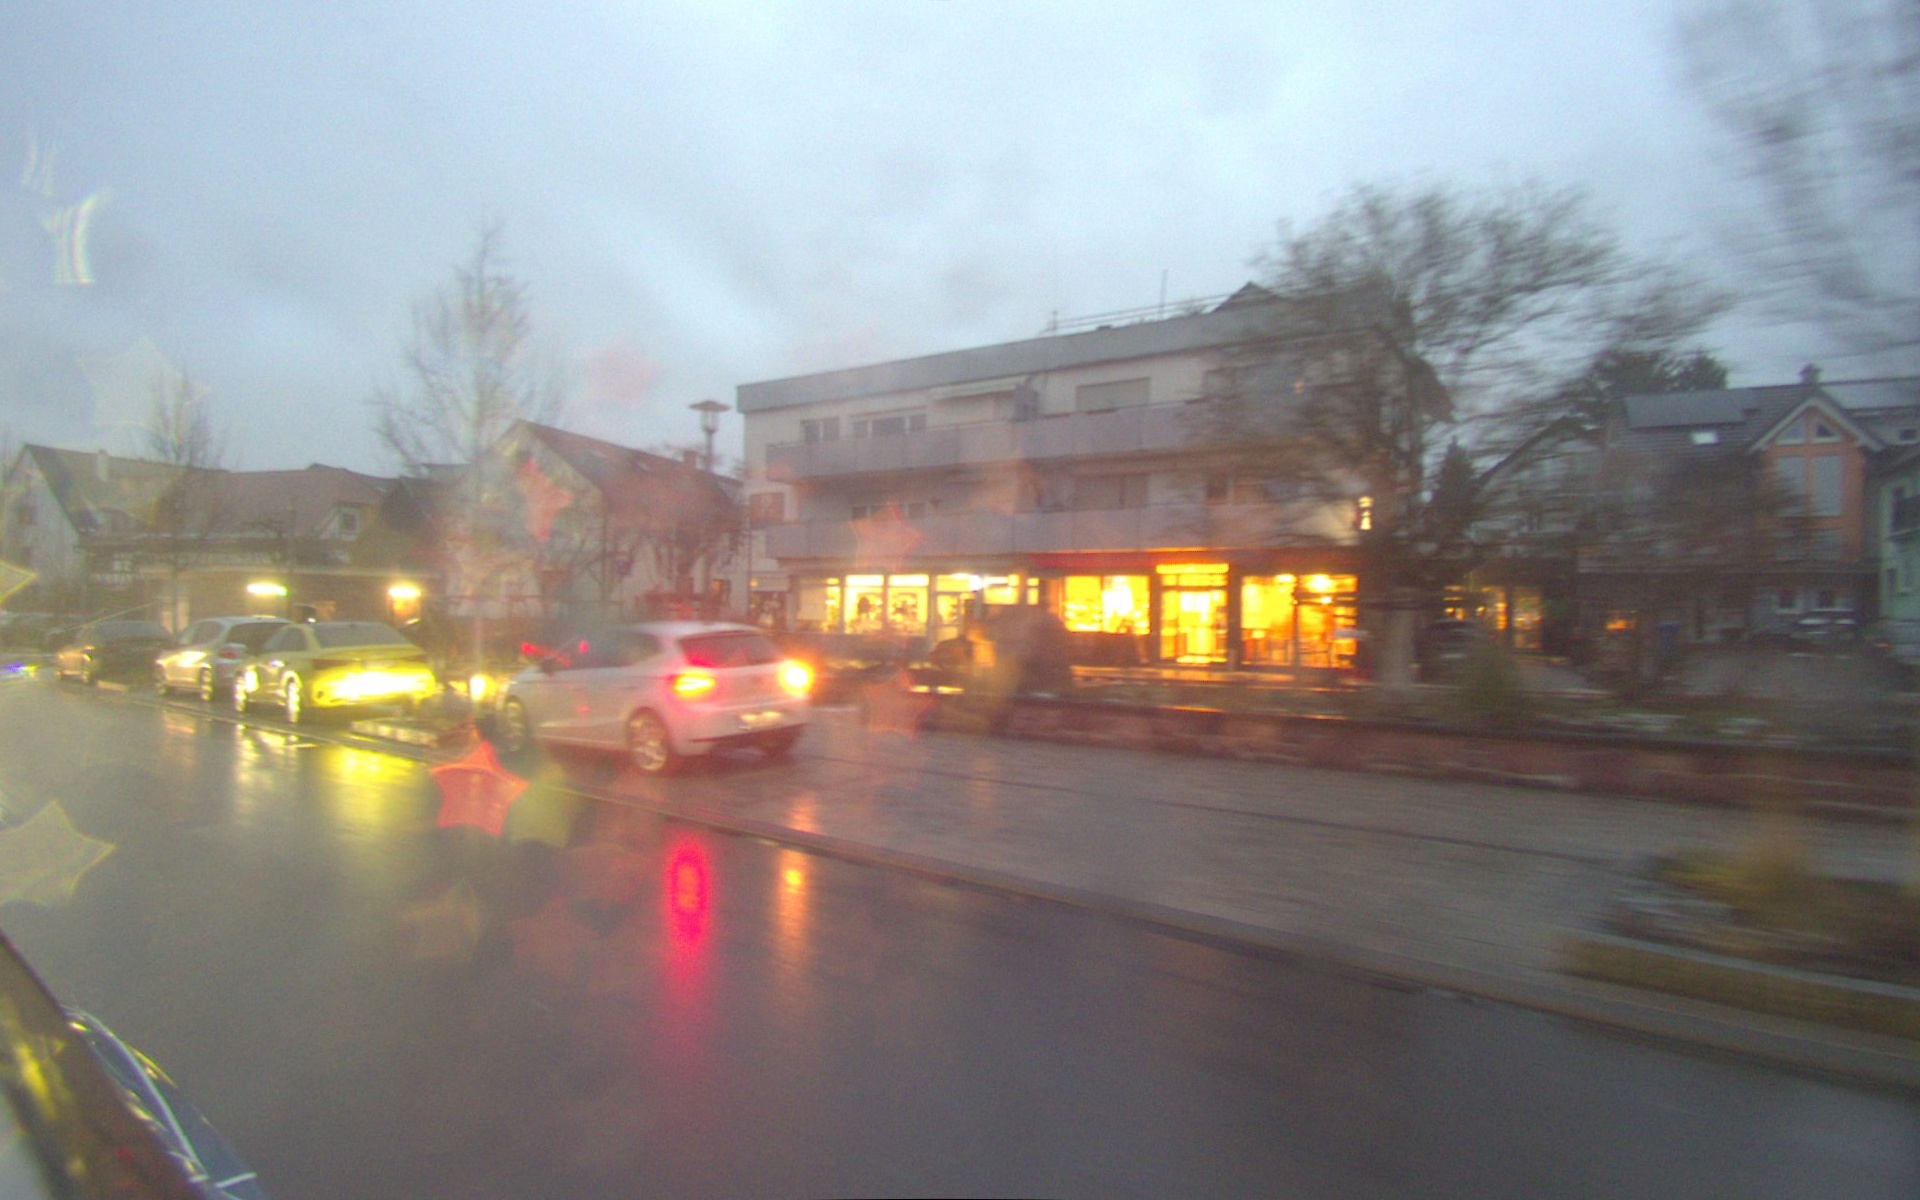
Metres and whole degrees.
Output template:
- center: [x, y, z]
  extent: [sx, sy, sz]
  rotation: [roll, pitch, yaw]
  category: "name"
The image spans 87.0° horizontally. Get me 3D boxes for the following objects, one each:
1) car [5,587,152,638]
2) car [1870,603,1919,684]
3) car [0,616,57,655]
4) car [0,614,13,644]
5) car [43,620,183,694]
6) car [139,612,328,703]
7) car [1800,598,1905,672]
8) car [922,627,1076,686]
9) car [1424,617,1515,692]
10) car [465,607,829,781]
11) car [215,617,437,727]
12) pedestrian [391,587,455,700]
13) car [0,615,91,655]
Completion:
- center: [-32.003, 0.435, 36.891]
  extent: [3.934, 1.776, 1.437]
  rotation: [0, 0, -36]
  category: "car"
- center: [20.976, 0.899, 21.406]
  extent: [1.980, 1.615, 3.954]
  rotation: [-1, -1, 34]
  category: "car"
- center: [-40.481, 1.493, 42.372]
  extent: [3.937, 1.559, 2.003]
  rotation: [-1, 0, -40]
  category: "car"
- center: [-43.409, 1.296, 43.464]
  extent: [2.001, 1.309, 3.942]
  rotation: [-1, 0, 45]
  category: "car"
- center: [-20.017, 1.260, 23.871]
  extent: [4.135, 1.546, 1.817]
  rotation: [-1, 0, 40]
  category: "car"
- center: [-13.938, 1.031, 19.371]
  extent: [3.664, 1.546, 1.858]
  rotation: [-1, 0, 35]
  category: "car"
- center: [24.132, 0.899, 27.478]
  extent: [1.563, 1.871, 3.277]
  rotation: [-1, -1, 32]
  category: "car"
- center: [1.108, 1.580, 29.105]
  extent: [3.987, 1.576, 1.978]
  rotation: [-1, -2, 32]
  category: "car"
- center: [13.810, 1.424, 27.303]
  extent: [1.992, 1.858, 3.959]
  rotation: [-1, -2, 30]
  category: "car"
- center: [-3.483, 0.839, 10.876]
  extent: [4.179, 1.500, 1.766]
  rotation: [-1, 0, 40]
  category: "car"
- center: [-9.947, 1.026, 15.745]
  extent: [4.373, 1.442, 1.677]
  rotation: [-1, 0, 40]
  category: "car"
- center: [-9.892, 0.786, 18.640]
  extent: [0.889, 2.029, 0.792]
  rotation: [1, -2, -41]
  category: "pedestrian"
- center: [-37.961, 1.413, 41.252]
  extent: [3.786, 1.557, 2.002]
  rotation: [-1, 0, -43]
  category: "car"
